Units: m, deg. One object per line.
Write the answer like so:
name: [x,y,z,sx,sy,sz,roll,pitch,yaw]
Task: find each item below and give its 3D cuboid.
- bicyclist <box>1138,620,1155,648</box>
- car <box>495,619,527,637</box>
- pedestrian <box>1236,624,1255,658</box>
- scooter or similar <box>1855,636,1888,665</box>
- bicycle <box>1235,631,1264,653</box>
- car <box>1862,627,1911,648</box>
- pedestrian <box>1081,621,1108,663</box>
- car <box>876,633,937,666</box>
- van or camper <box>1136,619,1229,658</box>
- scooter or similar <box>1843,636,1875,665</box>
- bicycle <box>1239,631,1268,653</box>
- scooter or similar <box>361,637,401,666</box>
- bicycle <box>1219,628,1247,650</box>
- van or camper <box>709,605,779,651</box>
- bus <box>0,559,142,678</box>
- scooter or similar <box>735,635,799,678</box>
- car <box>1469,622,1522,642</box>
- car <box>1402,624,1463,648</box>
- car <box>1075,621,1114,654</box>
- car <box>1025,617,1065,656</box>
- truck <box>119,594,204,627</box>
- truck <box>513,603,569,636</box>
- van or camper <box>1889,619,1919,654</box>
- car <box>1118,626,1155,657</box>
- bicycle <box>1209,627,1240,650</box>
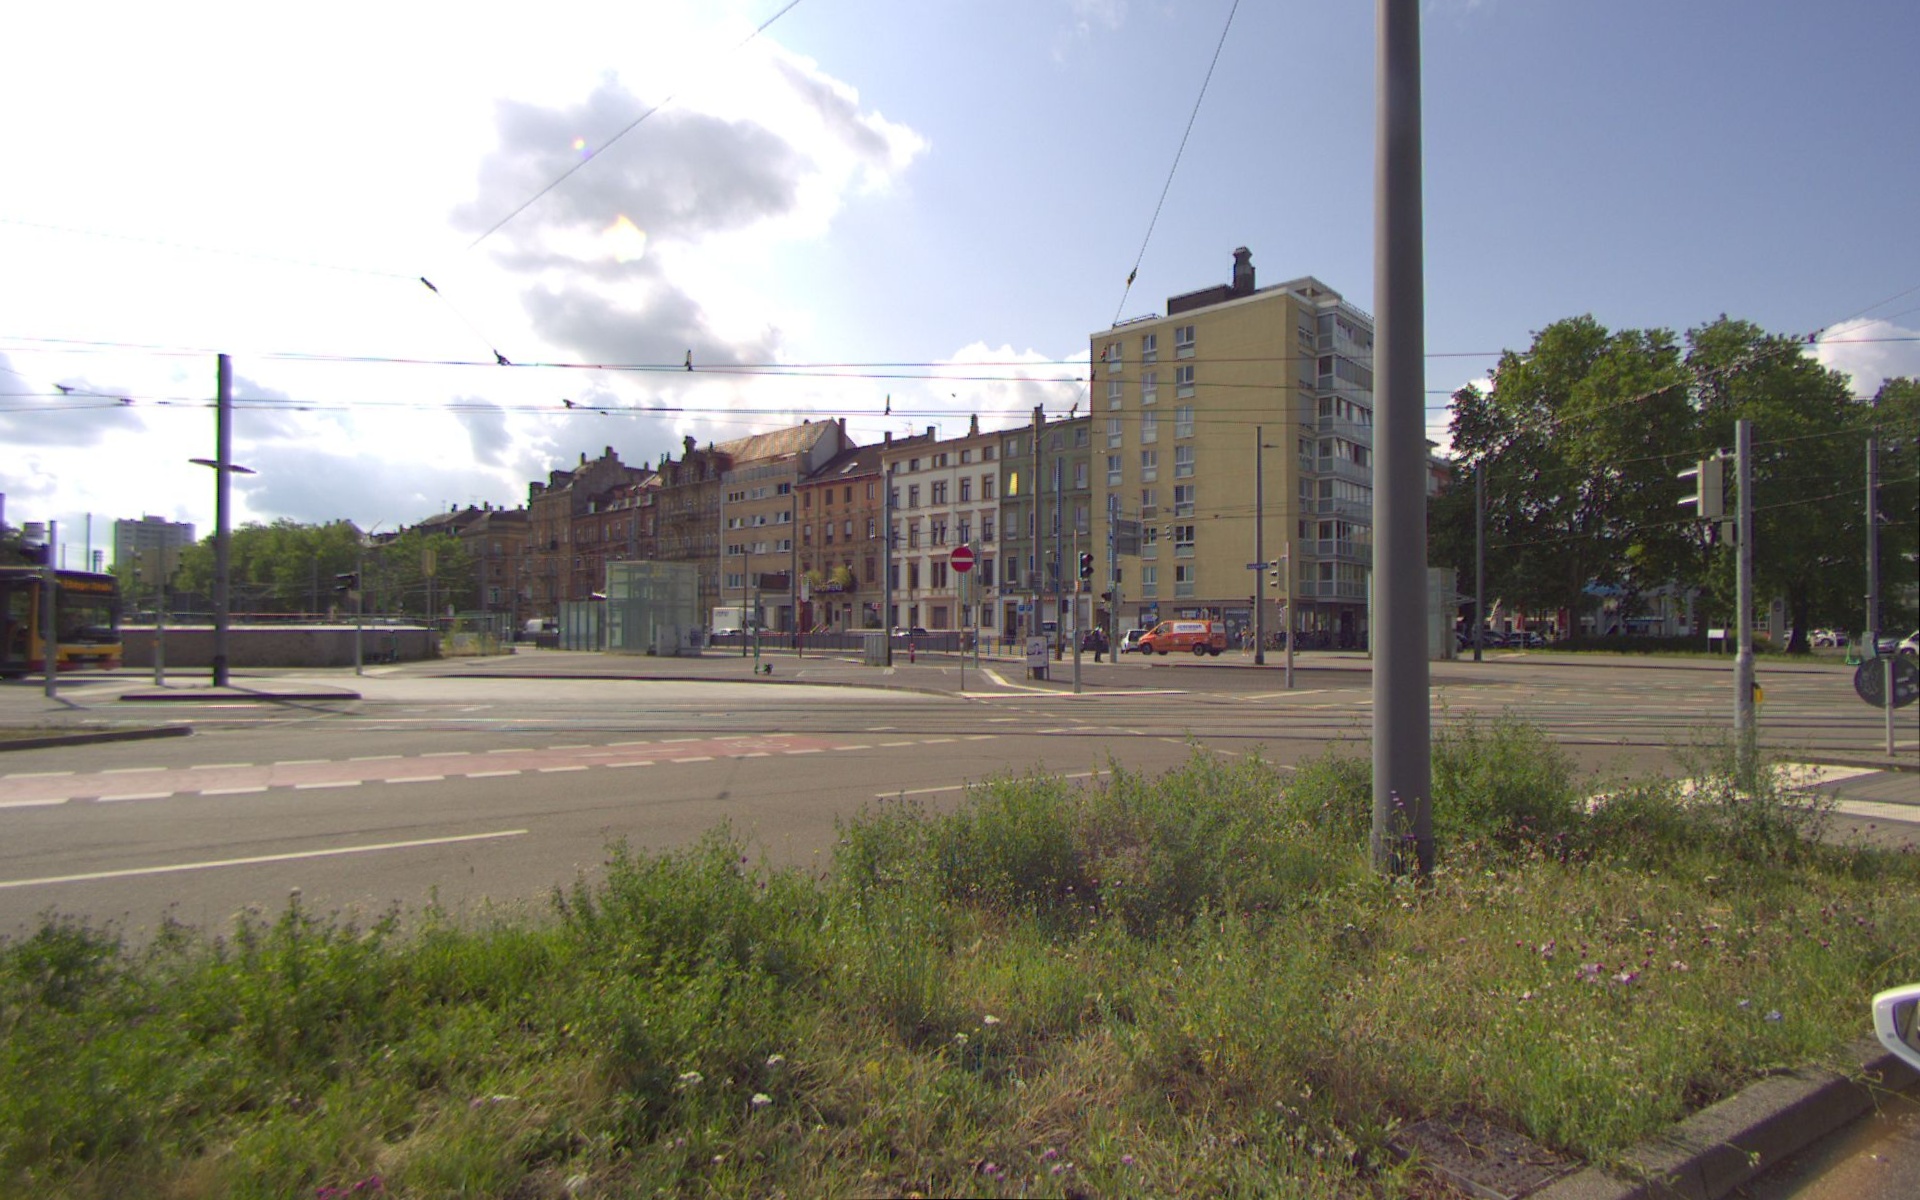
bicyclist: [12.160,2.209,65.374,0.707,1.768,0.818,1,-2,-43]
car: [-47.718,3.011,106.664,3.945,1.684,1.765,3,1,45]
pedestrian: [15.730,2.268,55.330,0.771,1.782,0.995,4,-1,23]
scooter or similar: [39.534,2.197,43.564,0.911,1.173,0.381,3,4,5]
bicycle: [18.635,2.698,64.663,1.622,1.289,0.528,6,2,43]
car: [74.052,2.960,80.288,3.959,1.625,2.055,1,-2,-34]
pedestrian: [5.859,1.829,43.723,0.783,1.696,0.840,6,6,42]
car: [-3.650,3.333,68.531,3.945,2.040,1.988,2,0,44]
van or camper: [11.855,2.022,53.630,4.454,1.940,2.006,1,-1,40]
scooter or similar: [39.521,2.200,44.158,0.911,1.173,0.381,4,4,16]
bicycle: [19.004,2.711,65.053,1.622,1.289,0.485,6,2,43]
scooter or similar: [-20.588,1.824,35.749,0.464,0.962,1.664,0,-1,-1]
bicycle: [17.924,2.552,65.993,1.622,1.289,0.485,6,2,43]
van or camper: [-20.053,2.518,92.927,2.703,3.376,7.536,-1,6,-45]
bus: [-25.370,0.457,25.338,6.964,2.871,2.699,0,-1,-4]
scooter or similar: [-5.901,1.708,30.708,1.330,1.205,1.475,2,0,-44]
car: [44.275,2.642,83.126,1.654,1.615,3.573,1,-2,-43]
car: [33.948,2.583,72.180,3.524,1.550,1.989,2,0,43]
car: [8.413,2.329,63.030,1.853,1.488,5.063,3,4,2]
car: [5.549,2.372,66.346,2.039,2.113,4.897,3,2,-1]
truck: [-93.172,1.287,117.359,2.433,3.696,7.418,-1,-2,39]
truck: [-45.859,2.113,109.910,7.197,3.330,3.160,2,1,45]
van or camper: [70.232,2.686,71.310,2.361,2.502,5.858,2,0,-25]
car: [10.729,2.511,61.268,1.685,1.460,3.512,4,2,3]
bicycle: [17.326,2.533,65.807,1.859,1.289,0.486,6,5,36]
